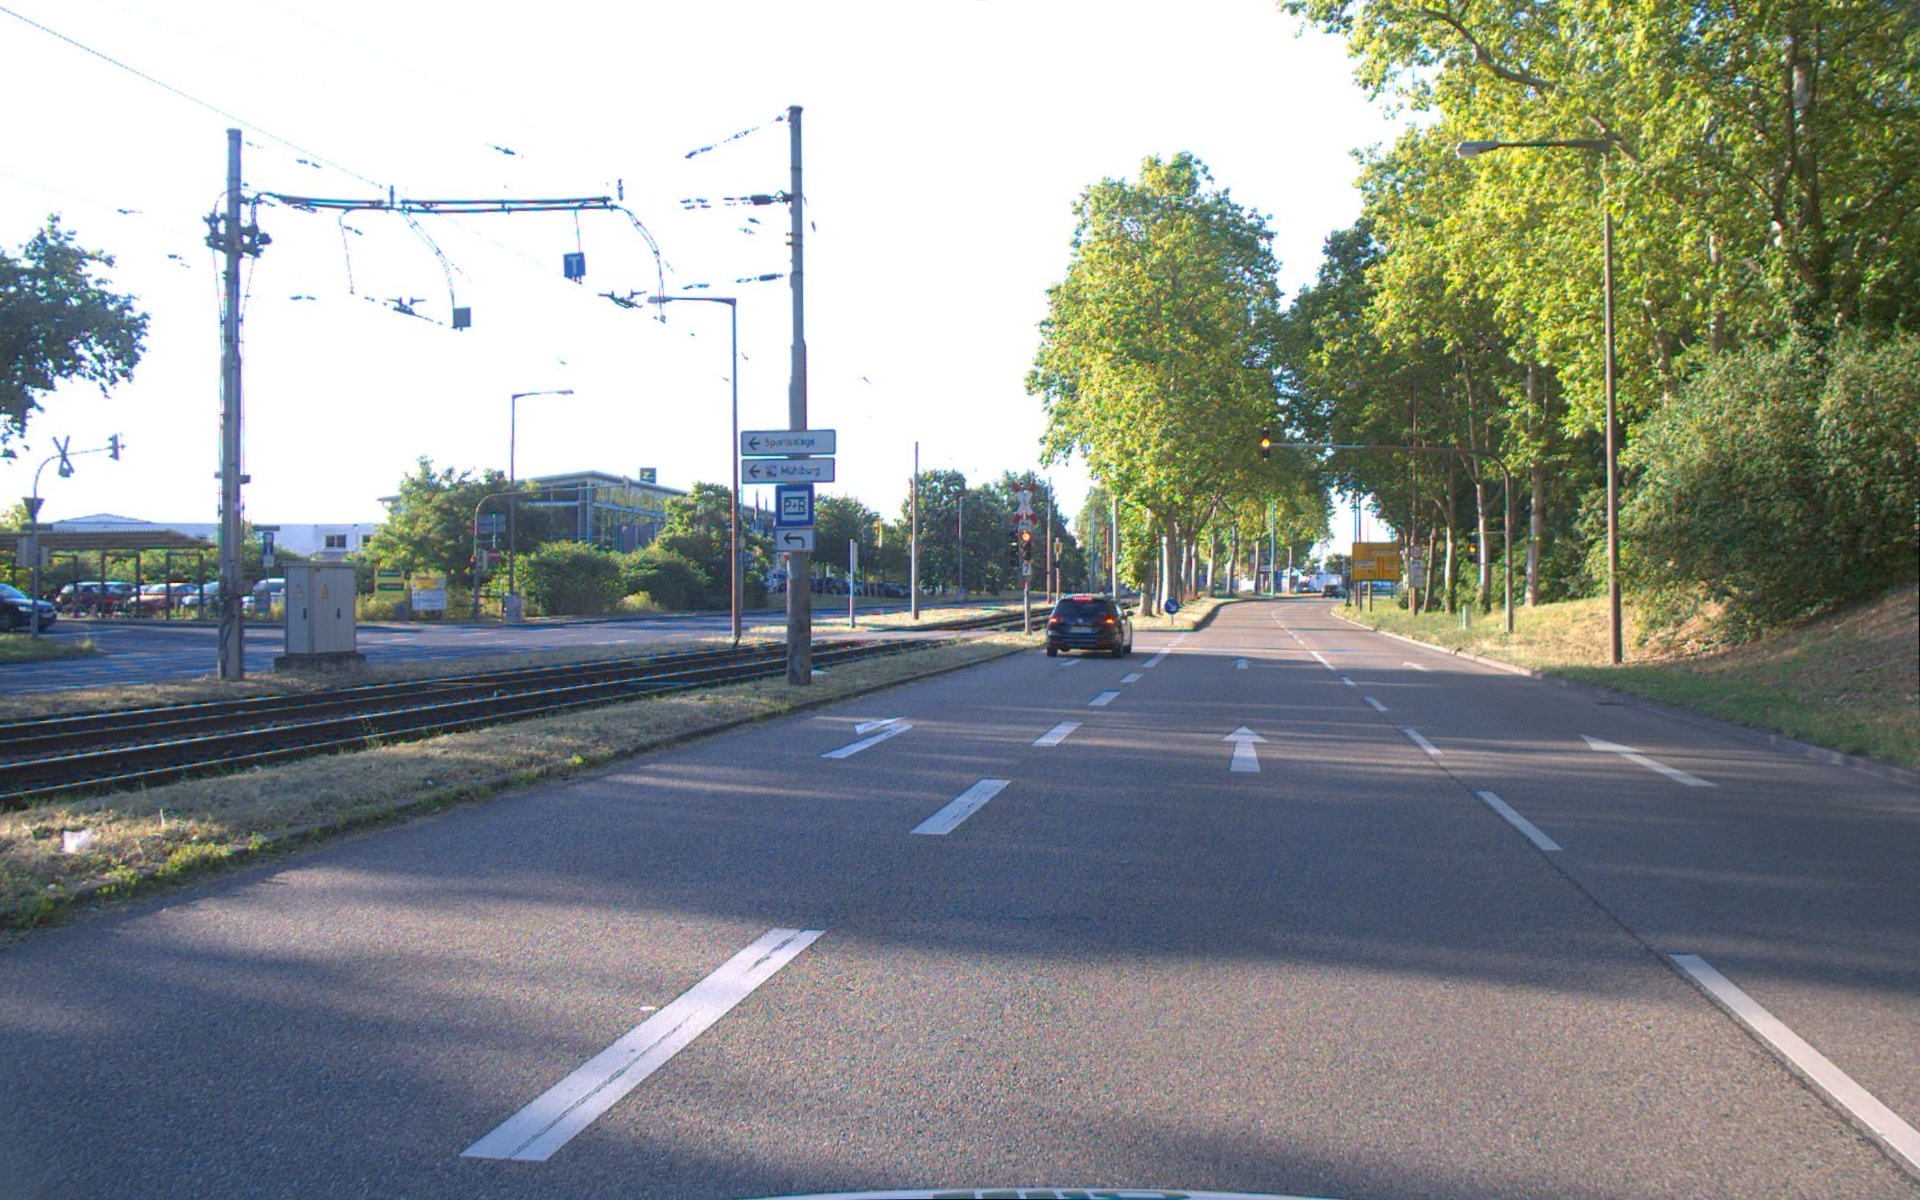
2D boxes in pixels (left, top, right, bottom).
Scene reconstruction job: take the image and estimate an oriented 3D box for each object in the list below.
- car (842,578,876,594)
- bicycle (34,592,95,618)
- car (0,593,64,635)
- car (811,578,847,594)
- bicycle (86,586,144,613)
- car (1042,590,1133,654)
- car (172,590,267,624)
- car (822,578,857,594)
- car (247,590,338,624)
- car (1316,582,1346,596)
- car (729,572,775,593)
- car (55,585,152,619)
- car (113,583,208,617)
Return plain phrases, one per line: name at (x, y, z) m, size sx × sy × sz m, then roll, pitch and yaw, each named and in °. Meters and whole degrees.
car at (-9.884, -1.351, 162.201) m, size 3.075 × 1.516 × 1.456 m, roll 1°, pitch 0°, yaw 6°
bicycle at (-37.424, 0.219, 69.140) m, size 0.656 × 1.084 × 2.181 m, roll 1°, pitch 0°, yaw 40°
car at (-33.655, 0.475, 57.852) m, size 3.969 × 1.411 × 1.785 m, roll 1°, pitch 0°, yaw 16°
car at (-12.352, -1.306, 155.972) m, size 3.075 × 1.516 × 1.456 m, roll 1°, pitch 0°, yaw 6°
bicycle at (-34.786, -0.005, 68.110) m, size 0.653 × 1.083 × 2.190 m, roll 1°, pitch 0°, yaw 27°
car at (3.086, 0.491, 39.367) m, size 1.754 × 1.427 × 3.692 m, roll 1°, pitch 0°, yaw 11°
car at (-33.122, 0.281, 74.093) m, size 1.802 × 1.467 × 4.003 m, roll 1°, pitch 0°, yaw 13°
car at (-11.552, -1.381, 158.944) m, size 3.075 × 1.516 × 1.456 m, roll 1°, pitch 0°, yaw 6°
car at (-29.850, 0.291, 74.107) m, size 1.802 × 1.467 × 4.003 m, roll 1°, pitch 0°, yaw 13°
car at (39.271, -1.152, 175.079) m, size 1.763 × 1.427 × 3.672 m, roll 0°, pitch 0°, yaw 38°
car at (-15.038, -1.266, 119.606) m, size 3.075 × 1.416 × 1.456 m, roll 1°, pitch 0°, yaw 6°
car at (-39.382, 0.083, 76.133) m, size 1.802 × 1.467 × 4.003 m, roll 1°, pitch 0°, yaw 13°
car at (-36.237, 0.002, 75.073) m, size 1.802 × 1.467 × 4.003 m, roll 1°, pitch 0°, yaw 13°
